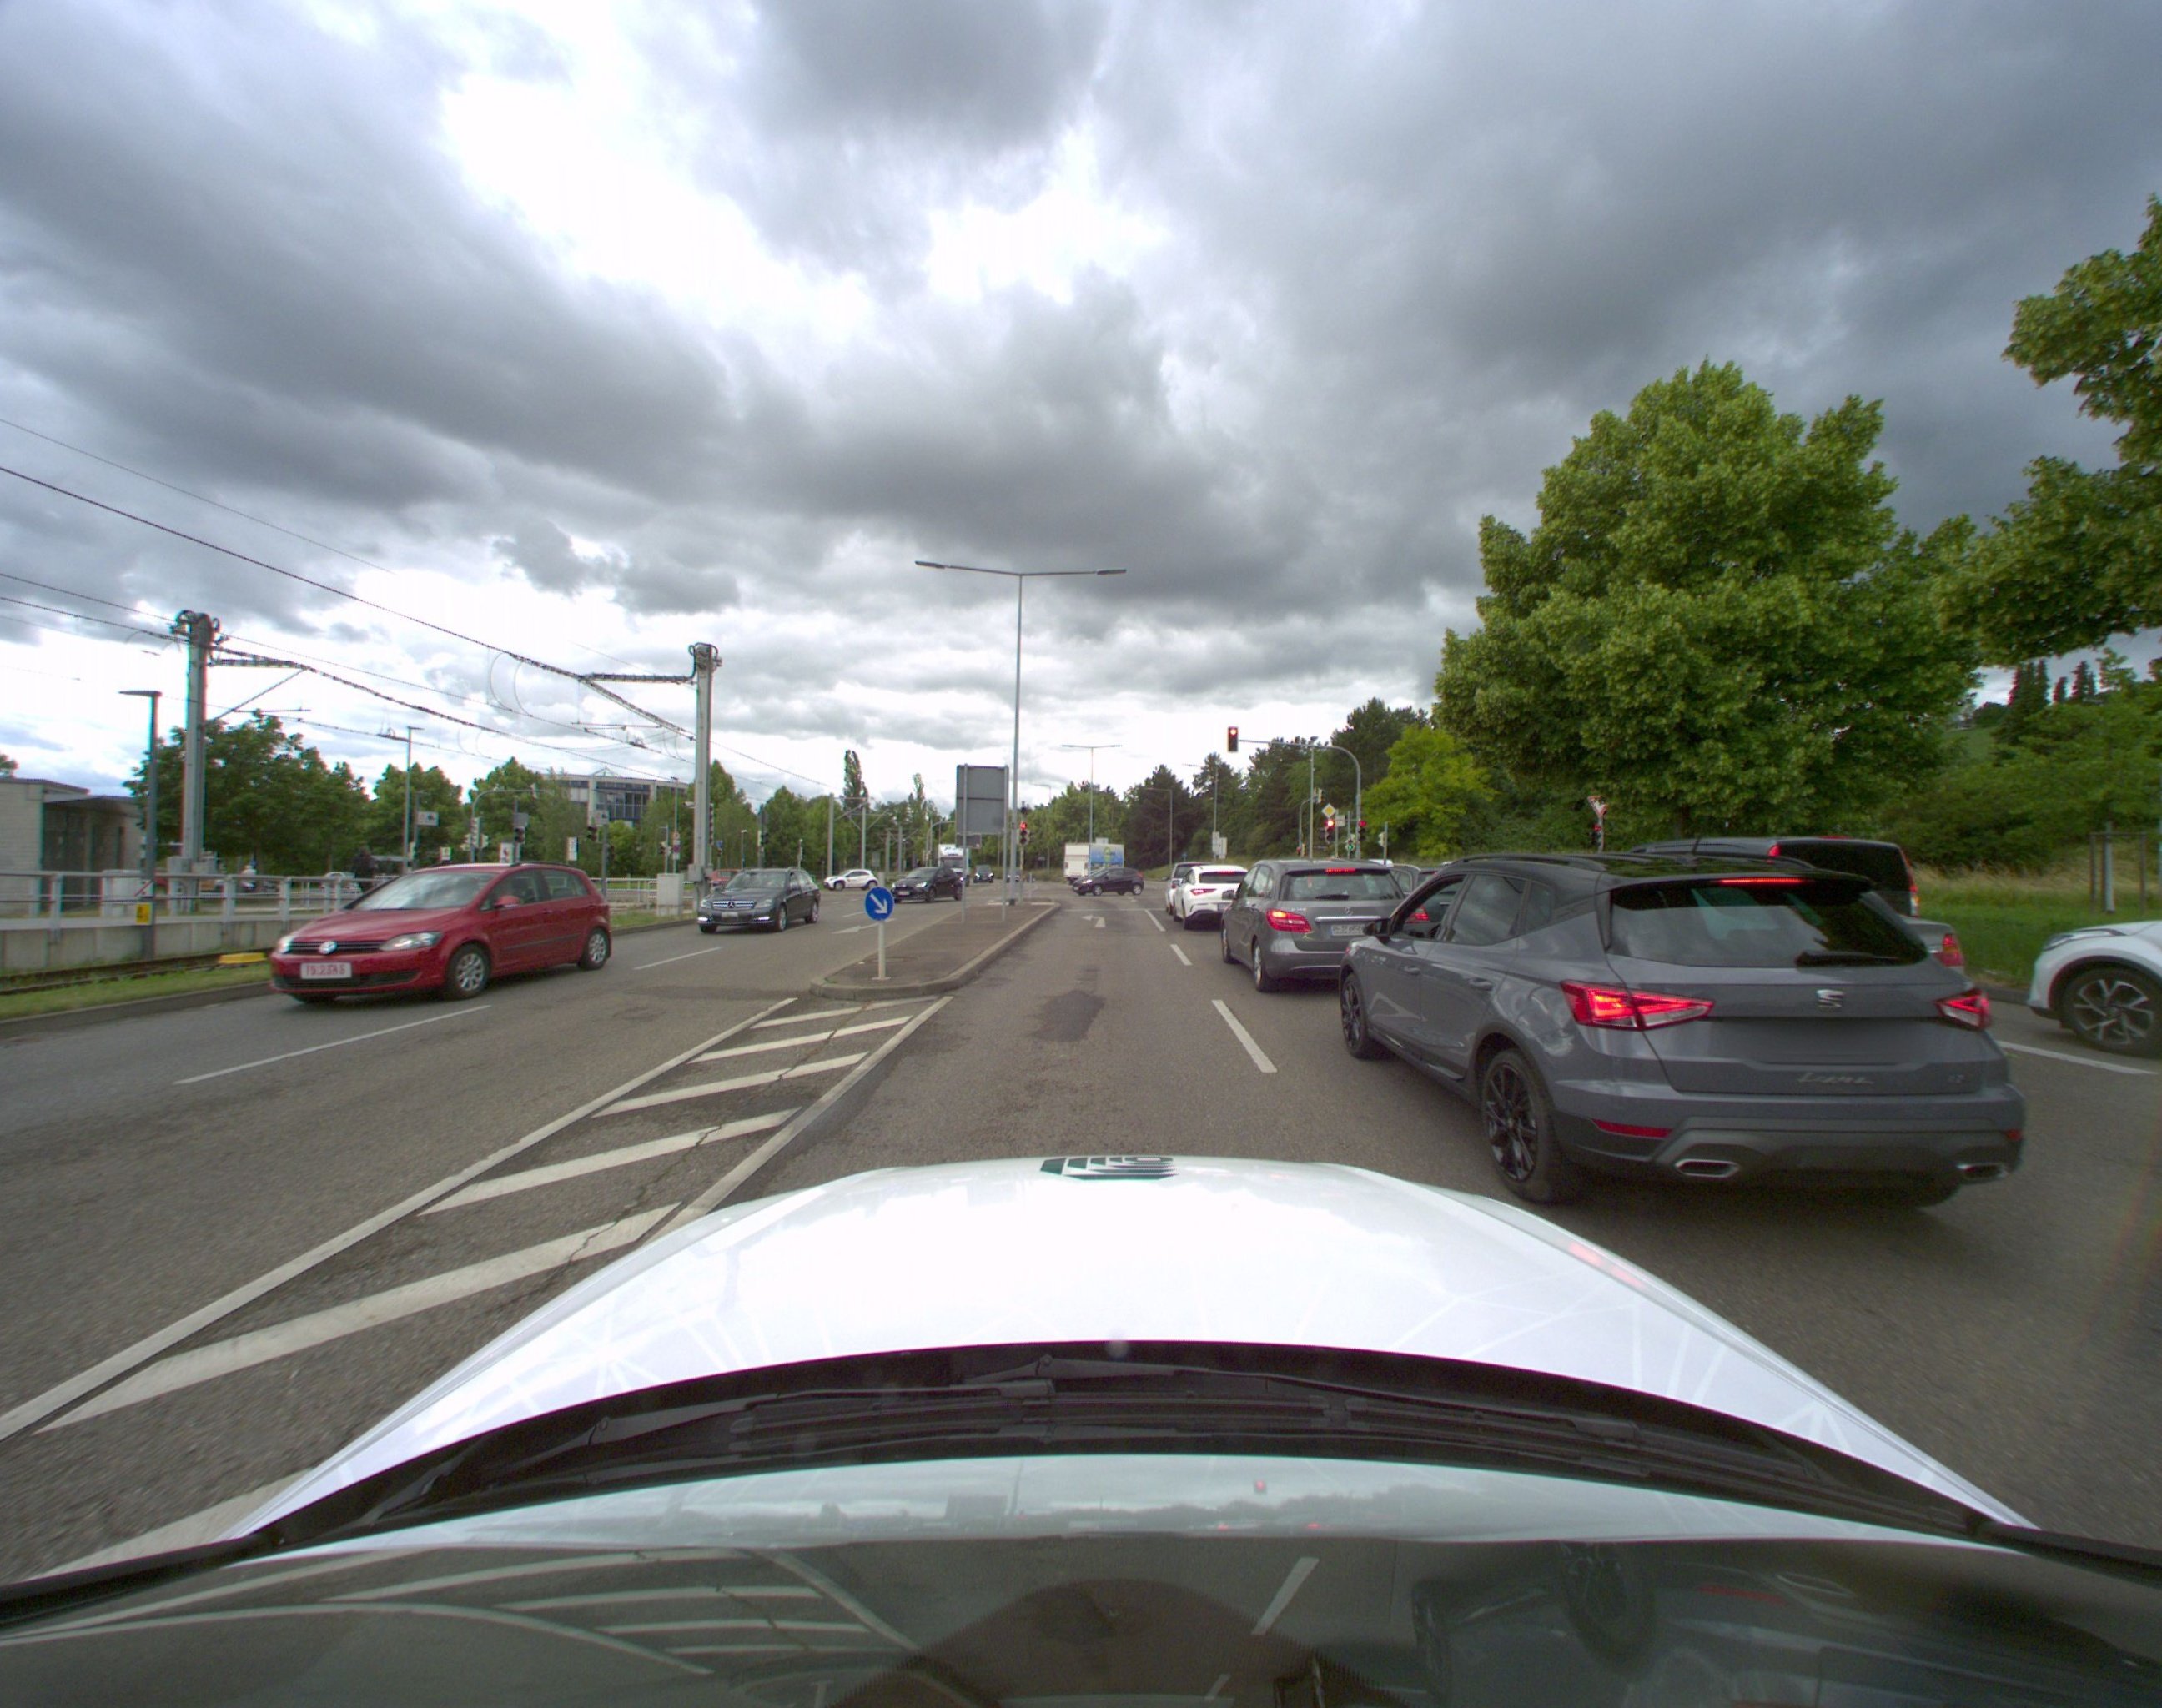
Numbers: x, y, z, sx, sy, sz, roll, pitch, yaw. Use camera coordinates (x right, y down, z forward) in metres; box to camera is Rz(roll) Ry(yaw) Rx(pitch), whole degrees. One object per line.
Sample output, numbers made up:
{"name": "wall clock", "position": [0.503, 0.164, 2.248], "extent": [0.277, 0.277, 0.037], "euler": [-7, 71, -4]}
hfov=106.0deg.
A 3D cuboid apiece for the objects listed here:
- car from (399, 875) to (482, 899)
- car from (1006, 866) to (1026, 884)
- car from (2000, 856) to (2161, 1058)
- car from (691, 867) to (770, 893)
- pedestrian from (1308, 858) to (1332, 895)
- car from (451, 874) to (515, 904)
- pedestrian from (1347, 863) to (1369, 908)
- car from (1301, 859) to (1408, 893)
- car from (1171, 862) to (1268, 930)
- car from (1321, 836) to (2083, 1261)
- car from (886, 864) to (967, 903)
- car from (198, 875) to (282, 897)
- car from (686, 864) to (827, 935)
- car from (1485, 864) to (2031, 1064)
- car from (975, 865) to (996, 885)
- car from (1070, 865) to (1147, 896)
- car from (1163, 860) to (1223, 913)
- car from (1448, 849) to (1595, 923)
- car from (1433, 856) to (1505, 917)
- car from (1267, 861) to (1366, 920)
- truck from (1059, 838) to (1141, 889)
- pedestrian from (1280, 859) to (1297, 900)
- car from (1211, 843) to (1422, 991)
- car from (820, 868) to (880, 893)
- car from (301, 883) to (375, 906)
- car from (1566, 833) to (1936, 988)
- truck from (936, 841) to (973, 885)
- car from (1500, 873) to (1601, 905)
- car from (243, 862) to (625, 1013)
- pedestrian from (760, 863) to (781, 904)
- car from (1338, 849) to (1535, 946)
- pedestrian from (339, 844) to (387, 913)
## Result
{"name": "car", "position": [-37.880, 1.952, 48.170], "extent": [3.963, 1.377, 1.522], "euler": [0, -1, 9]}
{"name": "car", "position": [-6.693, 2.096, 83.980], "extent": [1.913, 1.576, 3.992], "euler": [-1, 2, -6]}
{"name": "car", "position": [8.792, 0.793, 5.236], "extent": [1.635, 1.496, 3.684], "euler": [2, 0, 1]}
{"name": "car", "position": [-21.069, 1.589, 49.115], "extent": [3.982, 1.517, 1.728], "euler": [0, -2, -6]}
{"name": "pedestrian", "position": [10.155, 0.956, 34.559], "extent": [0.861, 1.560, 0.518], "euler": [-1, 0, 0]}
{"name": "car", "position": [-44.563, 2.574, 60.728], "extent": [3.369, 2.013, 1.753], "euler": [-1, 2, -1]}
{"name": "pedestrian", "position": [9.007, 1.030, 26.506], "extent": [0.607, 1.453, 0.355], "euler": [0, -1, 10]}
{"name": "car", "position": [15.324, 1.219, 45.880], "extent": [5.389, 1.815, 2.004], "euler": [-1, 0, 7]}
{"name": "car", "position": [3.164, 0.926, 19.436], "extent": [1.715, 1.422, 4.358], "euler": [-1, -1, 2]}
{"name": "car", "position": [2.773, 0.703, 4.890], "extent": [1.691, 1.486, 4.004], "euler": [-1, 0, 3]}
{"name": "car", "position": [-6.441, 1.210, 34.395], "extent": [1.581, 1.496, 3.958], "euler": [-1, 0, 18]}
{"name": "car", "position": [-51.828, 1.962, 50.224], "extent": [3.715, 1.310, 1.727], "euler": [0, -1, 8]}
{"name": "car", "position": [-7.585, 0.989, 19.514], "extent": [1.687, 1.439, 4.541], "euler": [-1, 0, -2]}
{"name": "car", "position": [5.682, 0.782, 7.675], "extent": [1.805, 1.354, 4.119], "euler": [-1, -1, 2]}
{"name": "car", "position": [-9.980, 2.121, 85.117], "extent": [1.911, 1.727, 3.997], "euler": [-1, 3, -3]}
{"name": "car", "position": [1.447, 1.375, 42.967], "extent": [3.788, 1.480, 1.624], "euler": [-1, 0, -29]}
{"name": "car", "position": [3.344, 0.950, 24.646], "extent": [1.529, 1.504, 2.671], "euler": [-1, -1, 2]}
{"name": "car", "position": [9.531, 0.640, 17.949], "extent": [1.507, 1.437, 3.646], "euler": [-1, 0, 5]}
{"name": "car", "position": [11.626, 0.904, 24.619], "extent": [1.687, 1.638, 4.266], "euler": [1, 0, 22]}
{"name": "car", "position": [6.151, 0.905, 21.672], "extent": [1.540, 1.404, 4.001], "euler": [-1, -1, 1]}
{"name": "truck", "position": [1.569, 0.729, 62.154], "extent": [2.657, 3.599, 7.309], "euler": [1, -1, 35]}
{"name": "pedestrian", "position": [8.252, 1.014, 32.389], "extent": [0.607, 1.634, 0.616], "euler": [0, -1, 11]}
{"name": "car", "position": [2.795, 0.661, 10.628], "extent": [1.791, 1.523, 4.192], "euler": [-1, 0, 4]}
{"name": "car", "position": [-16.578, 1.876, 58.496], "extent": [3.766, 1.507, 1.760], "euler": [-3, 3, -40]}
{"name": "car", "position": [-44.834, 2.448, 49.165], "extent": [3.264, 1.310, 1.556], "euler": [-1, -1, 8]}
{"name": "car", "position": [9.202, 0.672, 11.818], "extent": [1.817, 1.803, 4.509], "euler": [-1, 0, 3]}
{"name": "truck", "position": [-10.983, 0.821, 71.372], "extent": [2.656, 3.649, 9.482], "euler": [0, -1, -6]}
{"name": "car", "position": [26.385, 1.943, 45.888], "extent": [4.463, 1.462, 2.006], "euler": [4, -1, 11]}
{"name": "car", "position": [-7.760, 0.871, 10.382], "extent": [1.698, 1.488, 4.083], "euler": [-1, 0, -2]}
{"name": "pedestrian", "position": [-12.254, 1.148, 32.169], "extent": [0.349, 1.556, 0.657], "euler": [0, 2, 36]}
{"name": "car", "position": [6.023, 0.685, 14.411], "extent": [1.817, 1.435, 4.216], "euler": [-1, -1, 3]}
{"name": "pedestrian", "position": [-19.449, 0.664, 22.078], "extent": [0.570, 1.827, 0.793], "euler": [0, -1, -2]}
